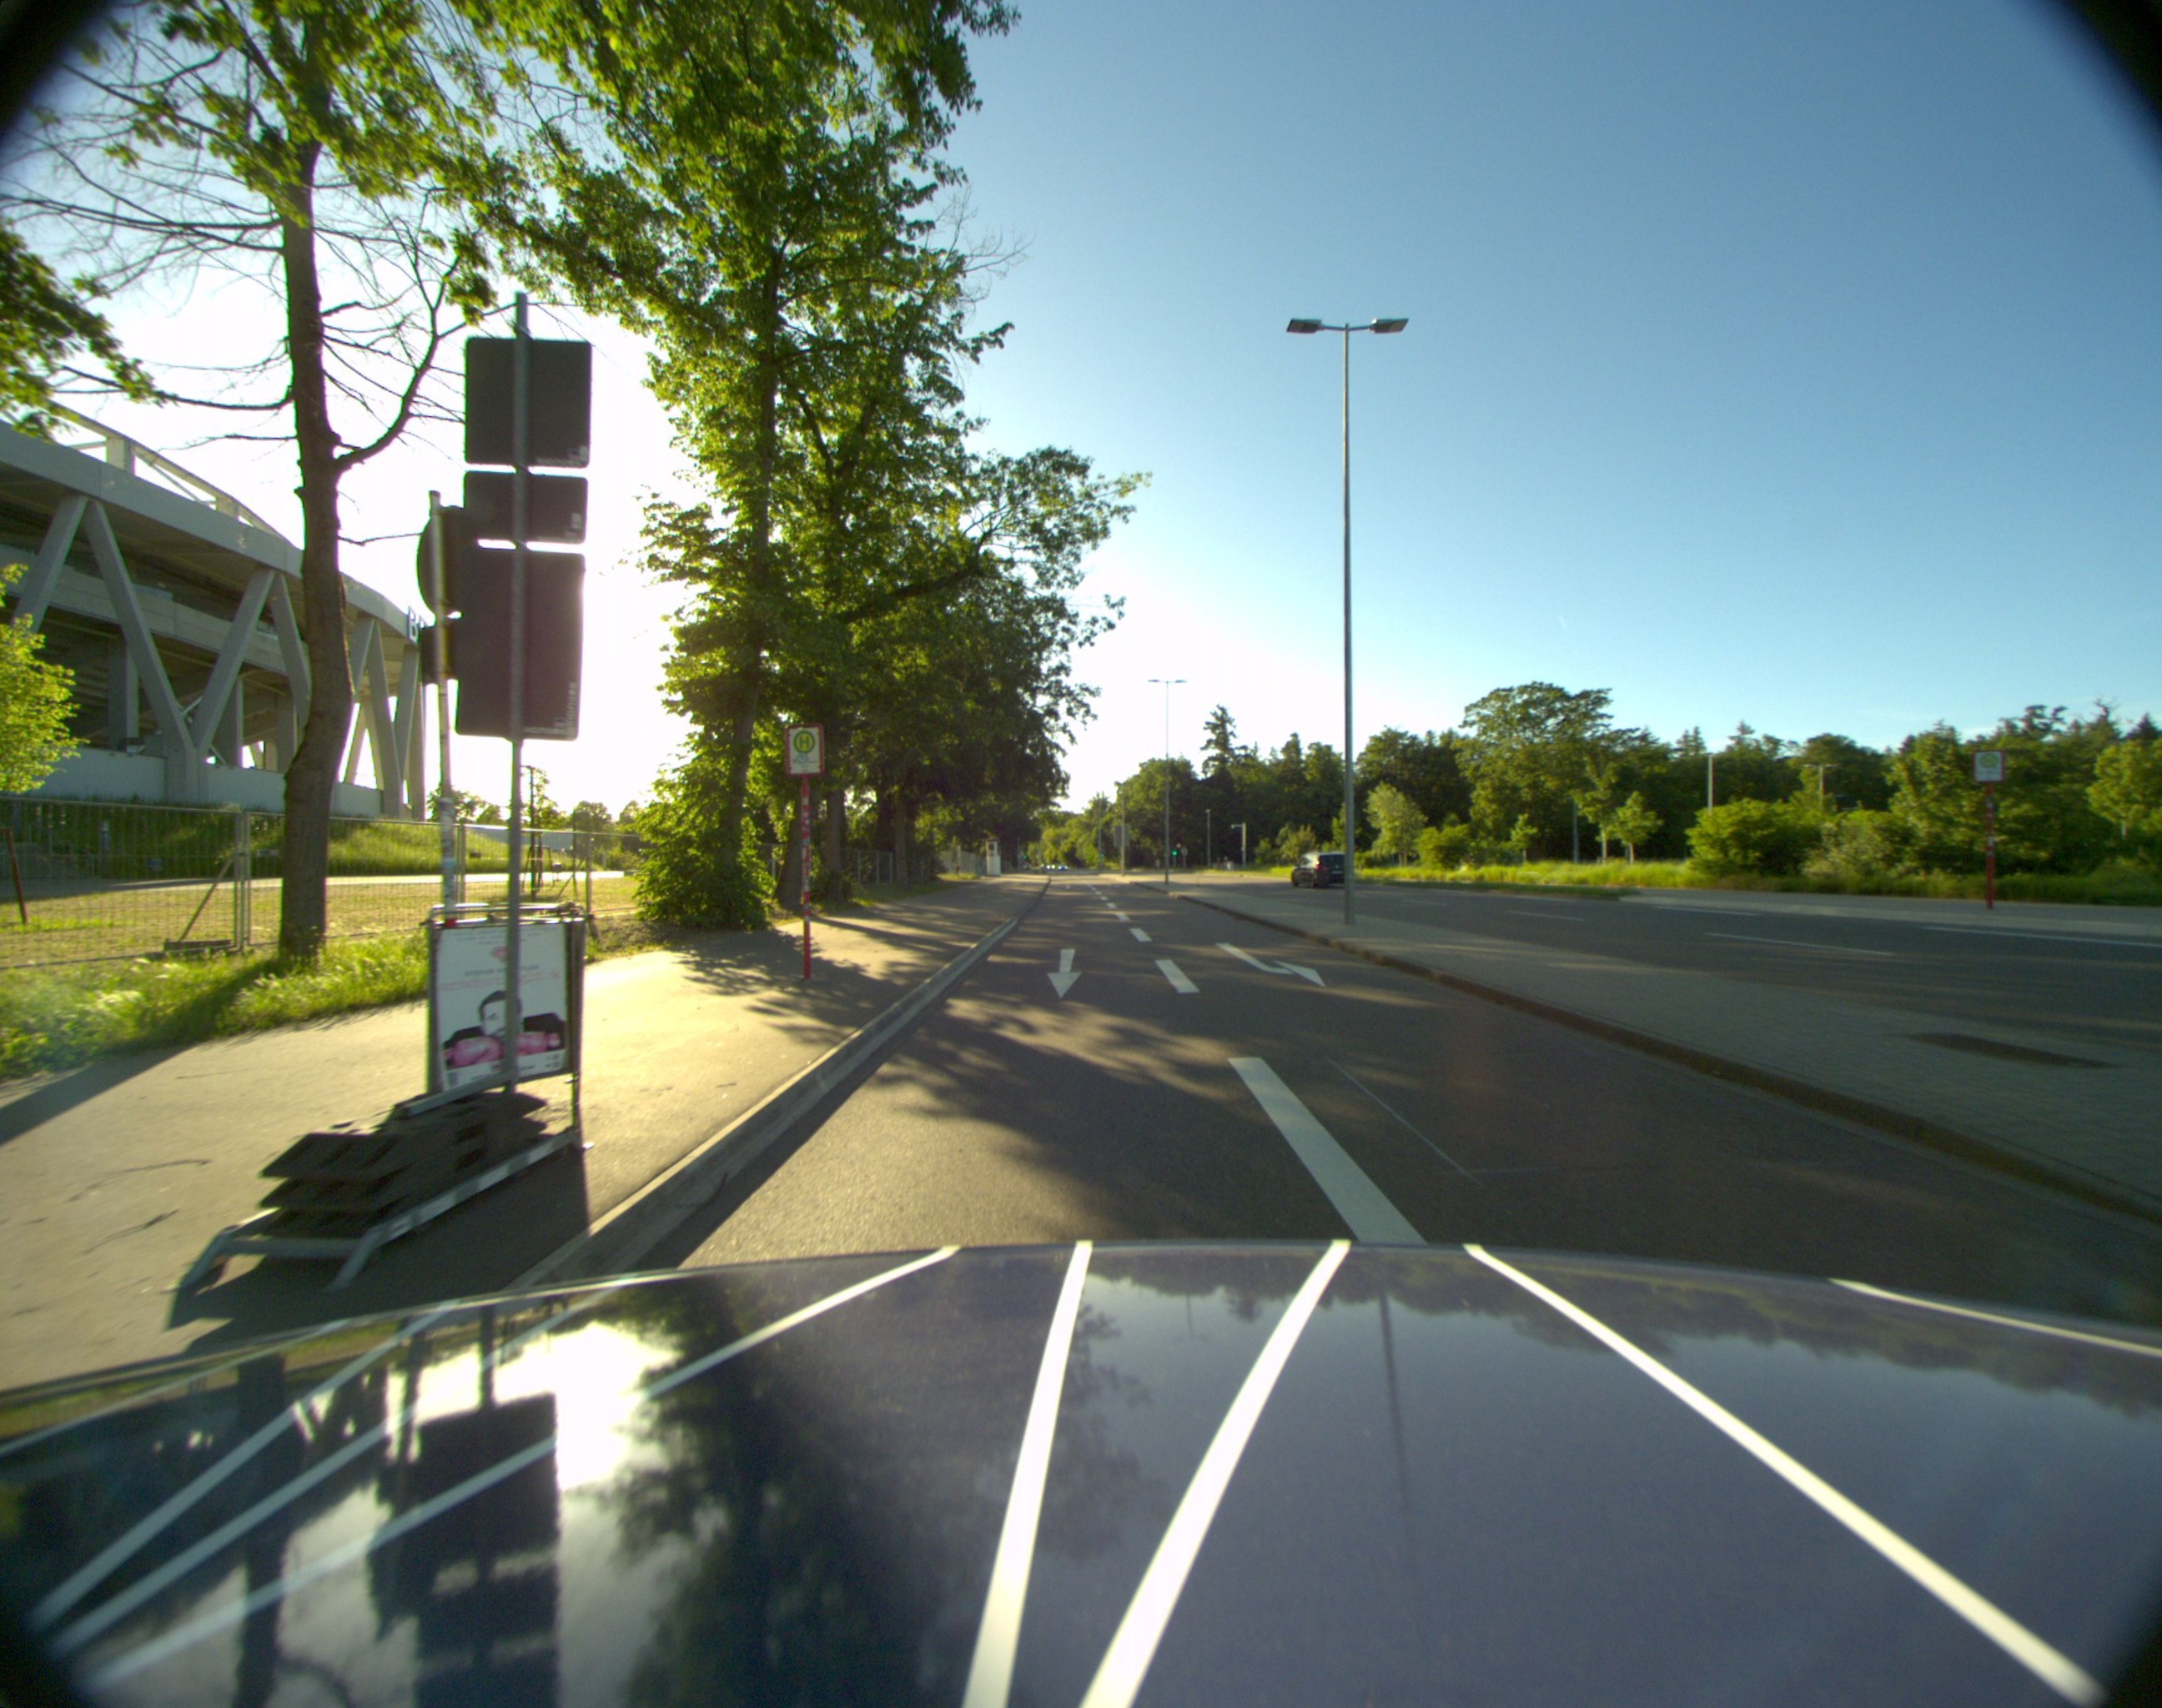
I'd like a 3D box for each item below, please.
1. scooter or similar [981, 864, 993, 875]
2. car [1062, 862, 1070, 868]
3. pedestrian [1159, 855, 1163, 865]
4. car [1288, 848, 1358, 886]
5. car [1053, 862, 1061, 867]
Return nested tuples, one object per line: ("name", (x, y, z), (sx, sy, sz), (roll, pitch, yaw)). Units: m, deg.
("scooter or similar", (-10.831, 1.764, 87.535), (1.303, 1.230, 0.334), (0, 0, -36))
("car", (-3.550, 2.571, 177.469), (1.841, 1.394, 3.999), (-2, 0, -3))
("pedestrian", (13.355, 1.010, 126.997), (0.691, 1.764, 0.734), (0, 0, 1))
("car", (11.679, 0.620, 37.010), (1.788, 1.682, 4.702), (-2, -1, -1))
("car", (-6.631, 2.783, 207.104), (1.842, 1.394, 4.990), (-2, 0, -4))
